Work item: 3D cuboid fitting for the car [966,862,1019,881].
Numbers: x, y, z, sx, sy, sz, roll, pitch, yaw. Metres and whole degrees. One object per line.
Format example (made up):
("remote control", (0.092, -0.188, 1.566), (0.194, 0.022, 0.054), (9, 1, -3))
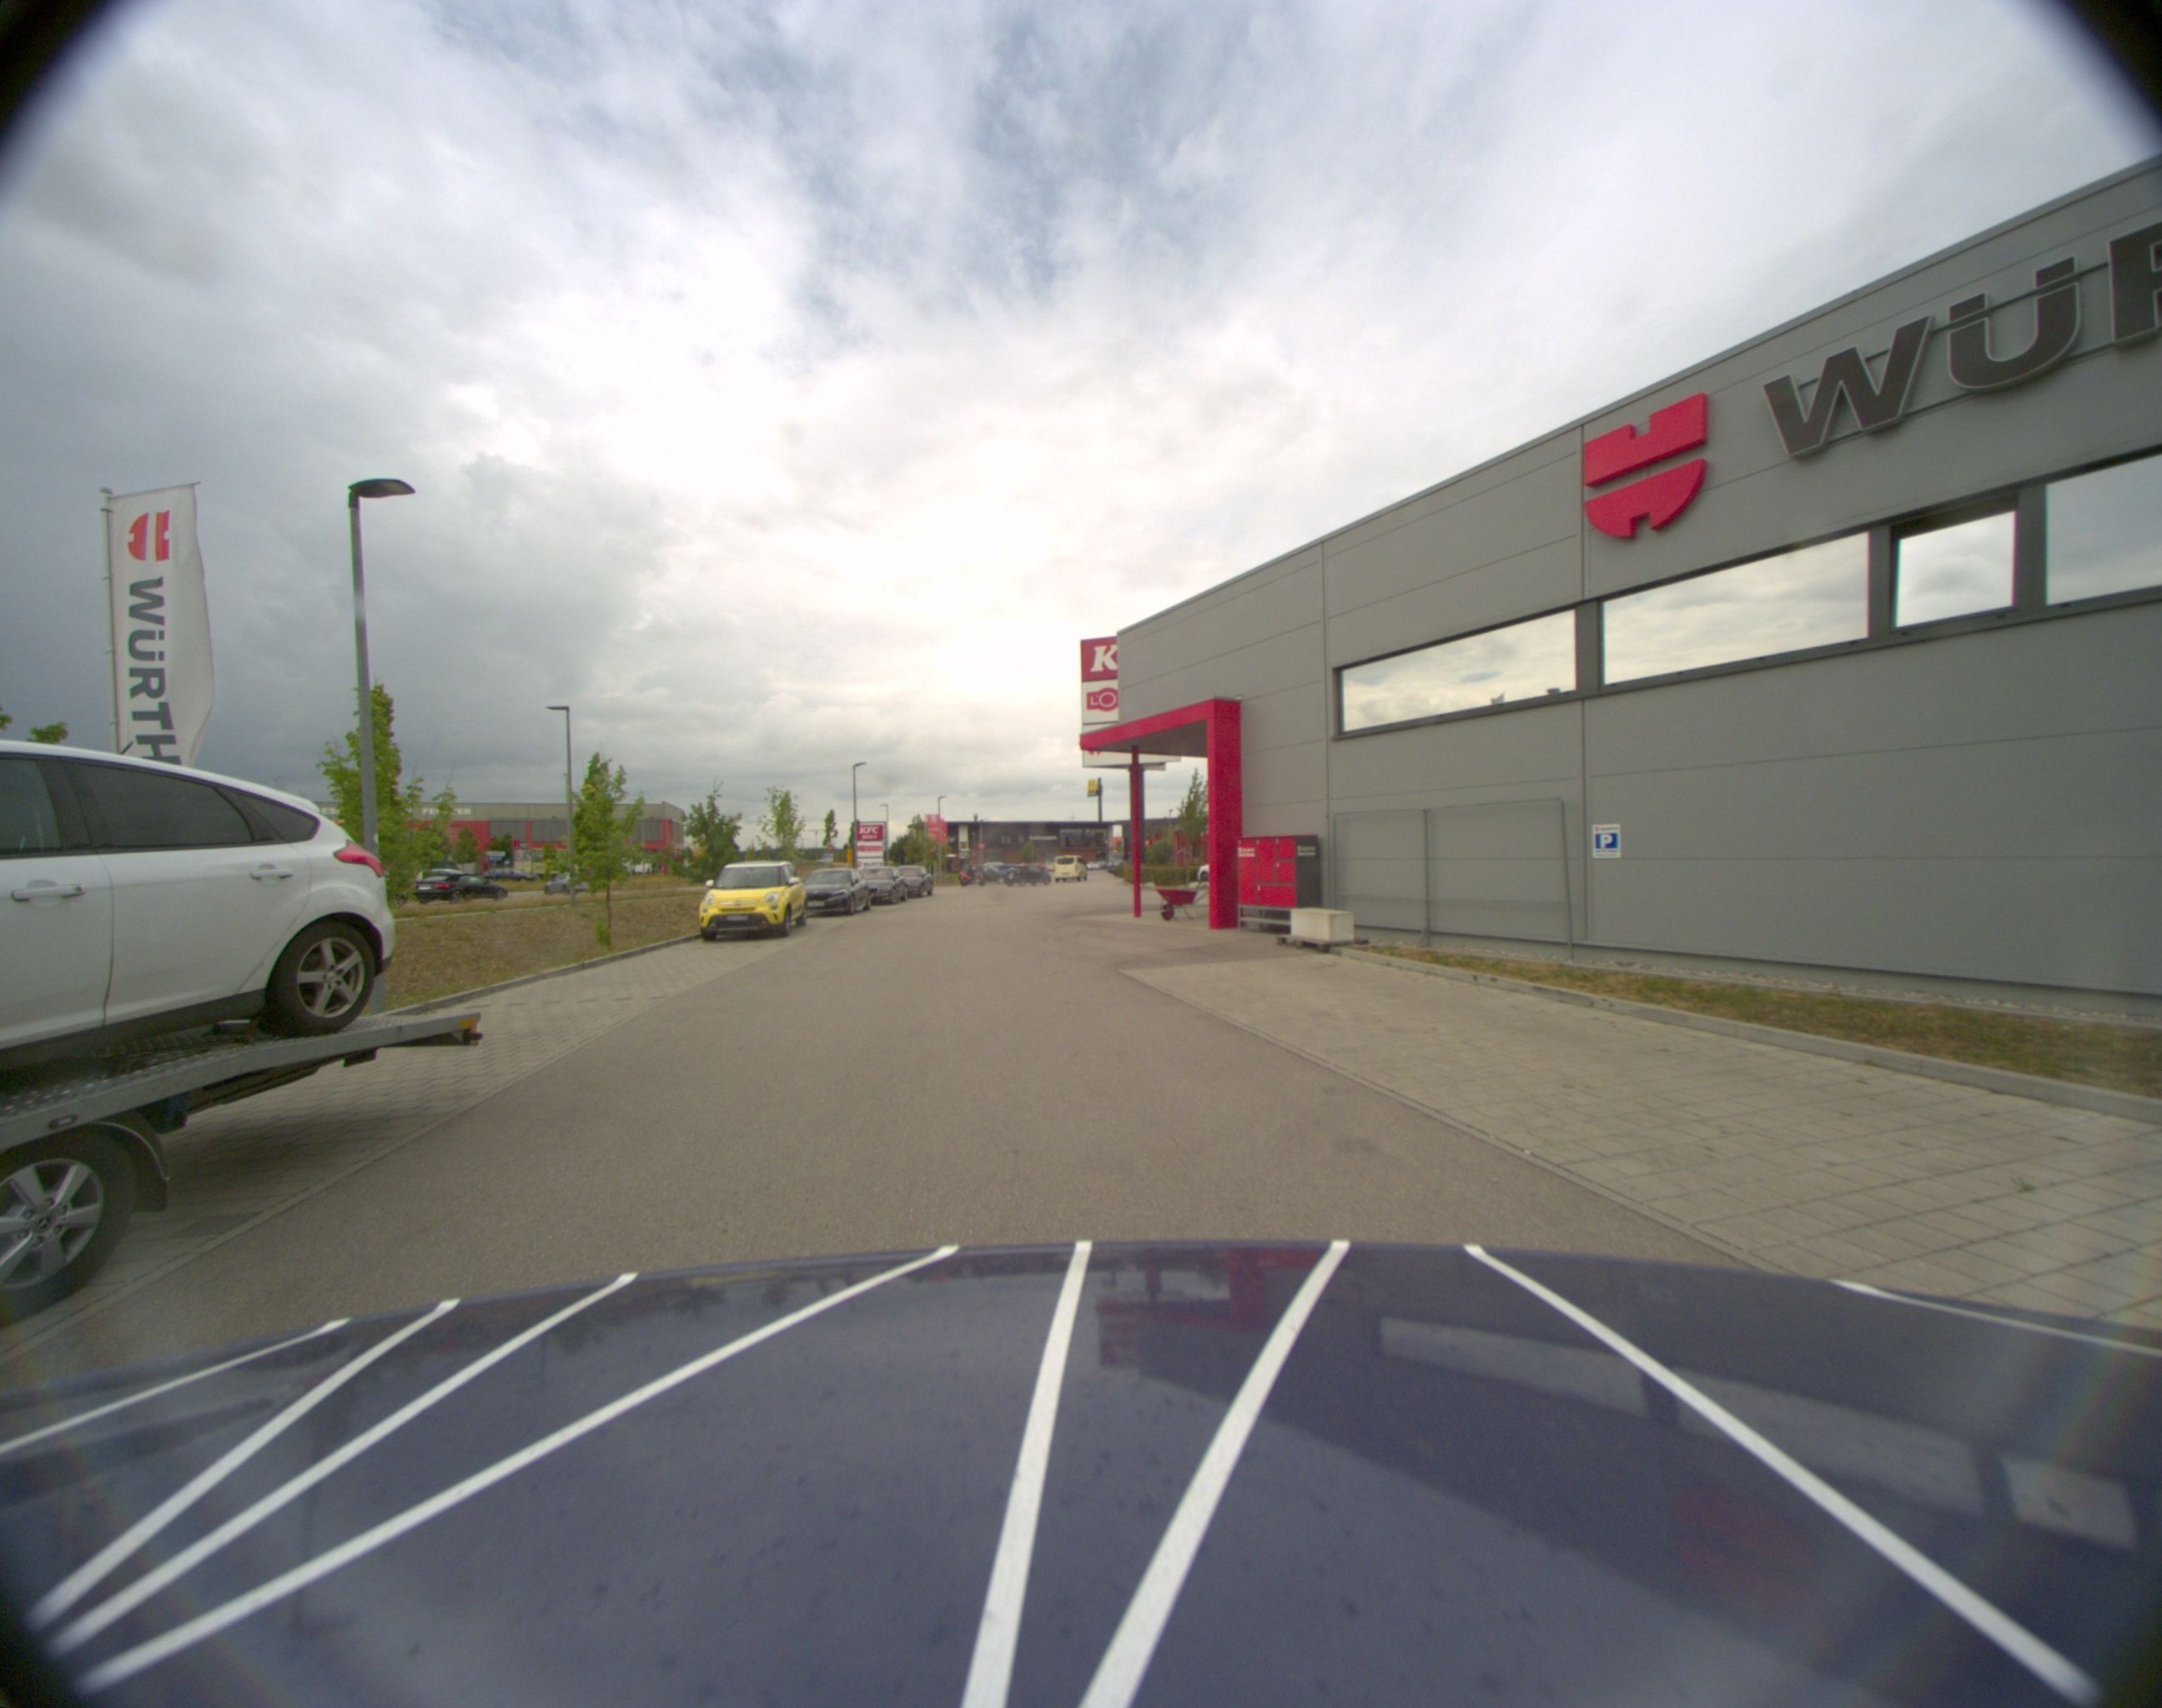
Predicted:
("car", (-7.050, 1.402, 60.699), (3.997, 1.412, 1.810), (-1, 0, -1))

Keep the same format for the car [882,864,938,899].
("car", (-8.016, 1.244, 35.943), (1.752, 1.482, 4.486), (-2, 0, -2))

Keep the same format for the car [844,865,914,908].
("car", (-7.943, 1.221, 30.306), (1.752, 1.482, 4.632), (-2, 0, -3))

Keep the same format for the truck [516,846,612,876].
("truck", (-53.454, 0.651, 78.901), (2.674, 2.928, 8.194), (-1, 0, 19))

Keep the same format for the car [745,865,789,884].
("car", (-24.808, 1.588, 60.170), (1.758, 1.346, 4.000), (-1, 0, 0))

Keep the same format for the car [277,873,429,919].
("car", (-28.822, 1.607, 30.301), (1.908, 1.559, 4.335), (-1, 0, -2))

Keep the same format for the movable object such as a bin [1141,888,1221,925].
("movable object such as a bin", (2.238, 1.159, 16.980), (1.587, 0.712, 0.802), (-1, 0, -29))

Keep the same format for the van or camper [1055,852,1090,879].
("van or camper", (-0.648, 0.905, 60.584), (1.857, 2.049, 5.238), (-1, 0, 9))

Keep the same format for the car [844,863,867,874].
("car", (-31.738, 2.073, 107.044), (1.999, 1.506, 4.368), (-1, 0, -3))

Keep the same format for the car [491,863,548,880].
("car", (-51.813, 1.637, 70.188), (3.845, 1.419, 1.739), (-1, 0, -18))

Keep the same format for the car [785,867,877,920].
("car", (-7.717, 1.171, 23.844), (1.752, 1.407, 4.304), (-2, 0, -5))

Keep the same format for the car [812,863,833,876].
("car", (-36.316, 2.178, 106.638), (1.907, 1.803, 3.998), (-1, 0, -6))

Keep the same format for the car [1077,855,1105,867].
("car", (1.557, 1.106, 119.885), (3.990, 1.652, 2.004), (-2, 0, 29))

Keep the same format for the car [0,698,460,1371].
("car", (-4.581, 0.606, 0.891), (2.201, 2.308, 7.852), (-1, -1, -8))

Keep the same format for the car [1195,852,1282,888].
("car", (8.046, 0.802, 39.323), (1.761, 1.738, 4.732), (-1, 0, -28))

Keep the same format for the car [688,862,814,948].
("car", (-7.466, 1.045, 17.612), (1.753, 1.673, 4.294), (-2, 0, -11))

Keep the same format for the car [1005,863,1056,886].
("car", (-3.353, 1.323, 50.620), (3.132, 1.438, 1.503), (0, 0, -38))

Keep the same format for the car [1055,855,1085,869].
("car", (-1.671, 1.202, 116.821), (3.990, 2.002, 2.004), (-2, 0, 29))

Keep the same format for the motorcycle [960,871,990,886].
("motorcycle", (-6.950, 1.583, 49.820), (1.872, 0.911, 0.555), (-1, 0, -31))

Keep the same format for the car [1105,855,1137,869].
("car", (5.599, 1.094, 106.477), (4.002, 1.827, 1.998), (-2, 0, -14))

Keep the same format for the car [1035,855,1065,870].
("car", (-4.686, 1.293, 114.731), (3.990, 2.002, 2.004), (-2, 0, 29))

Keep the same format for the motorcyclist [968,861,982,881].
("motorcyclist", (-6.956, 1.133, 49.876), (0.674, 1.308, 0.574), (-1, 0, -31))

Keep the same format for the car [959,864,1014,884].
("car", (-7.192, 1.533, 58.100), (3.997, 1.412, 1.810), (-1, 0, -1))

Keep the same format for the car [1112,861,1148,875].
("car", (5.098, 1.411, 78.646), (3.443, 1.288, 1.498), (-2, 0, -10))
